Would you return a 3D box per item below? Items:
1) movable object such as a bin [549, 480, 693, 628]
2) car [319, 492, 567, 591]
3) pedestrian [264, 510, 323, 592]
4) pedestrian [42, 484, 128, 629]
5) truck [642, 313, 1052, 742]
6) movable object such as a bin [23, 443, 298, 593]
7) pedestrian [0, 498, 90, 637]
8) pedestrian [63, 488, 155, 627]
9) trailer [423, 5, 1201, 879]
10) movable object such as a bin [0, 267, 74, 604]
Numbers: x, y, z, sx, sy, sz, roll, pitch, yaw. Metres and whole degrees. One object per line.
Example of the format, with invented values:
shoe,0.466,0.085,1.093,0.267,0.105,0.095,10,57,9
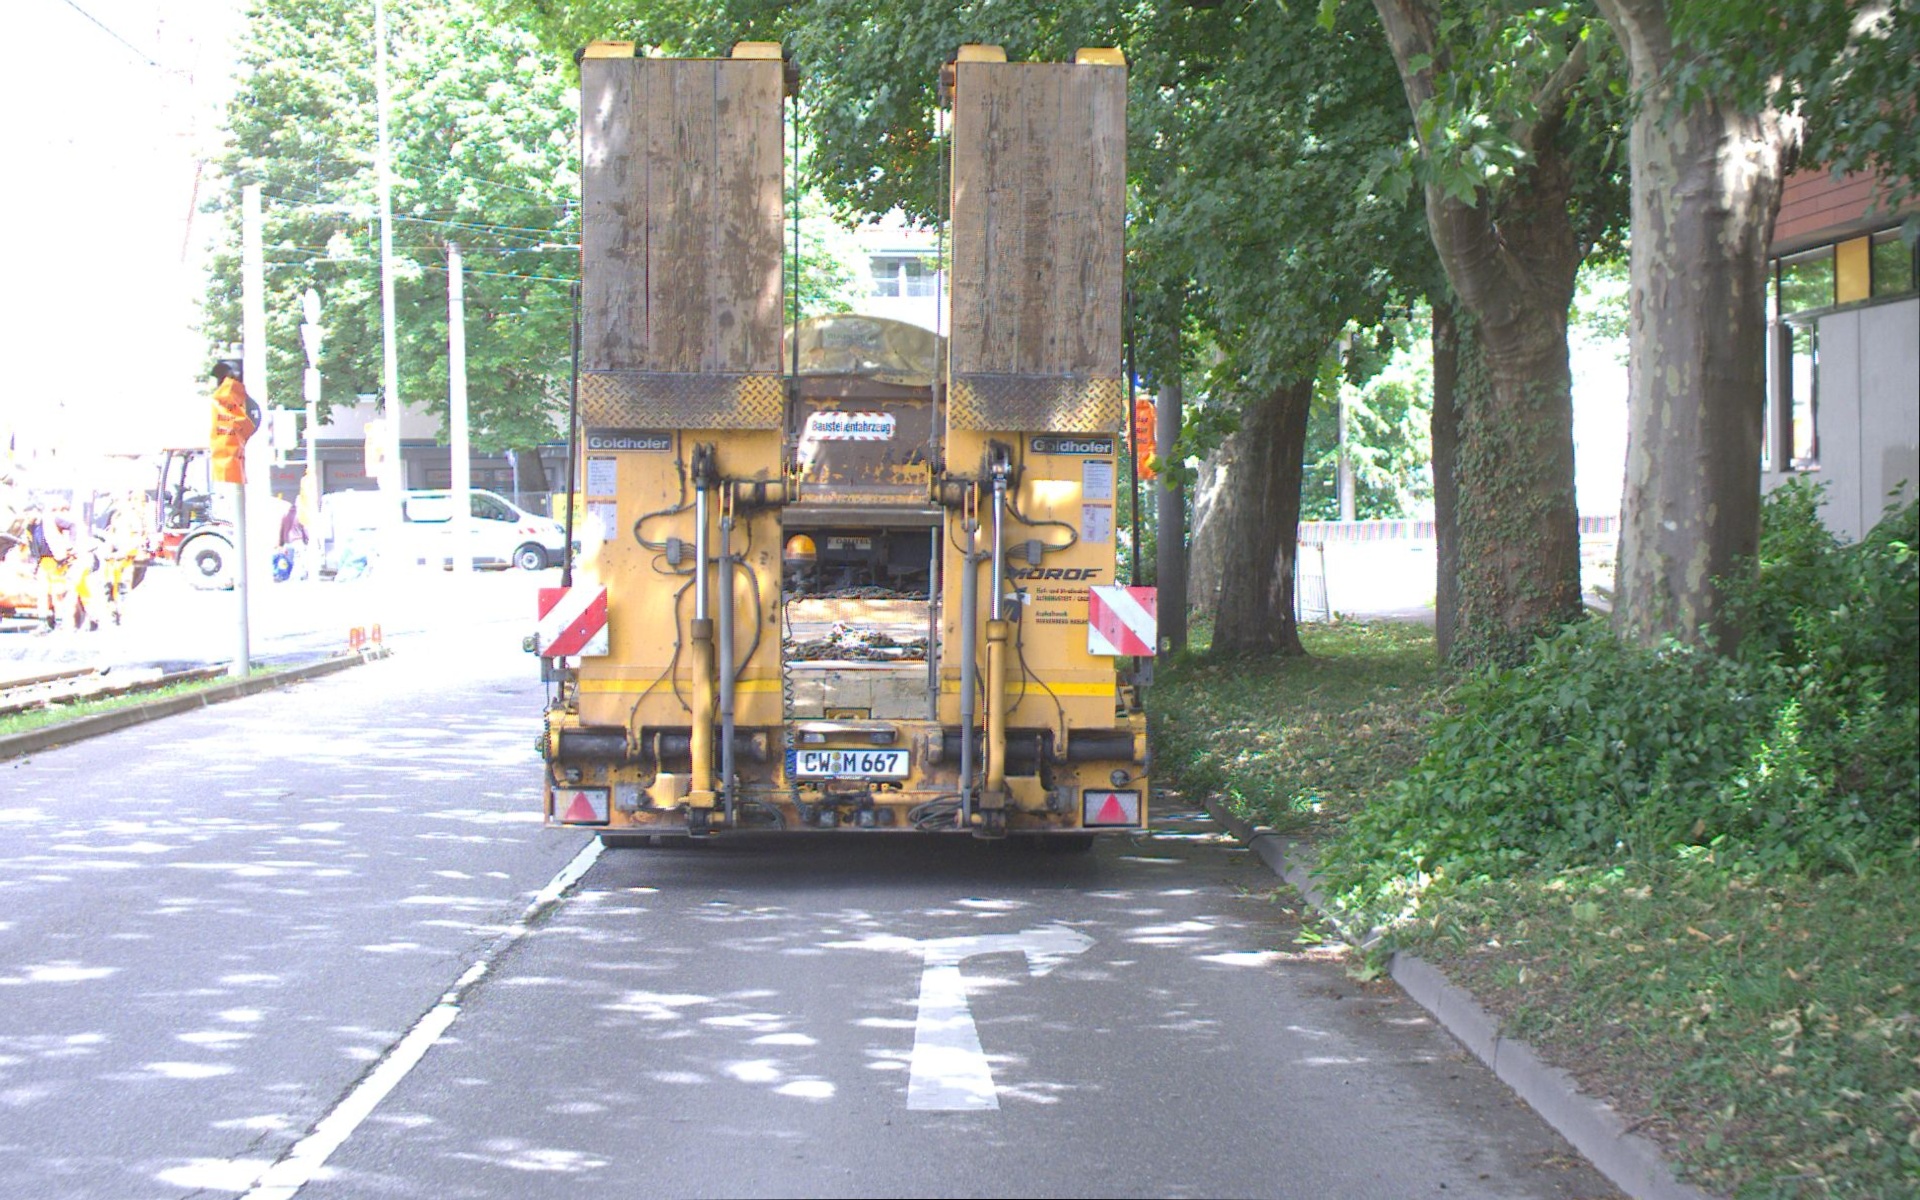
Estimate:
movable object such as a bin,-4.713,-0.641,48.039,1.399,2.007,2.555,0,1,9
car,-11.165,-1.254,74.204,5.088,2.095,1.977,0,1,-15
pedestrian,-11.491,-0.842,59.263,0.916,1.404,0.753,0,0,-4
pedestrian,-11.367,-0.562,44.640,0.885,1.861,0.837,0,1,-30
truck,-0.912,-0.554,28.998,2.989,3.124,7.888,0,0,-1
movable object such as a bin,-14.359,-1.444,61.766,4.372,2.620,2.217,0,1,25
pedestrian,-11.648,-0.414,43.621,0.886,1.754,0.836,0,0,14
pedestrian,-11.551,-0.580,46.672,0.887,1.861,0.836,0,1,27
trailer,-0.727,-0.680,19.508,3.154,3.540,11.097,0,0,-1
movable object such as a bin,-19.345,-2.646,57.431,9.214,5.396,2.660,0,0,25
